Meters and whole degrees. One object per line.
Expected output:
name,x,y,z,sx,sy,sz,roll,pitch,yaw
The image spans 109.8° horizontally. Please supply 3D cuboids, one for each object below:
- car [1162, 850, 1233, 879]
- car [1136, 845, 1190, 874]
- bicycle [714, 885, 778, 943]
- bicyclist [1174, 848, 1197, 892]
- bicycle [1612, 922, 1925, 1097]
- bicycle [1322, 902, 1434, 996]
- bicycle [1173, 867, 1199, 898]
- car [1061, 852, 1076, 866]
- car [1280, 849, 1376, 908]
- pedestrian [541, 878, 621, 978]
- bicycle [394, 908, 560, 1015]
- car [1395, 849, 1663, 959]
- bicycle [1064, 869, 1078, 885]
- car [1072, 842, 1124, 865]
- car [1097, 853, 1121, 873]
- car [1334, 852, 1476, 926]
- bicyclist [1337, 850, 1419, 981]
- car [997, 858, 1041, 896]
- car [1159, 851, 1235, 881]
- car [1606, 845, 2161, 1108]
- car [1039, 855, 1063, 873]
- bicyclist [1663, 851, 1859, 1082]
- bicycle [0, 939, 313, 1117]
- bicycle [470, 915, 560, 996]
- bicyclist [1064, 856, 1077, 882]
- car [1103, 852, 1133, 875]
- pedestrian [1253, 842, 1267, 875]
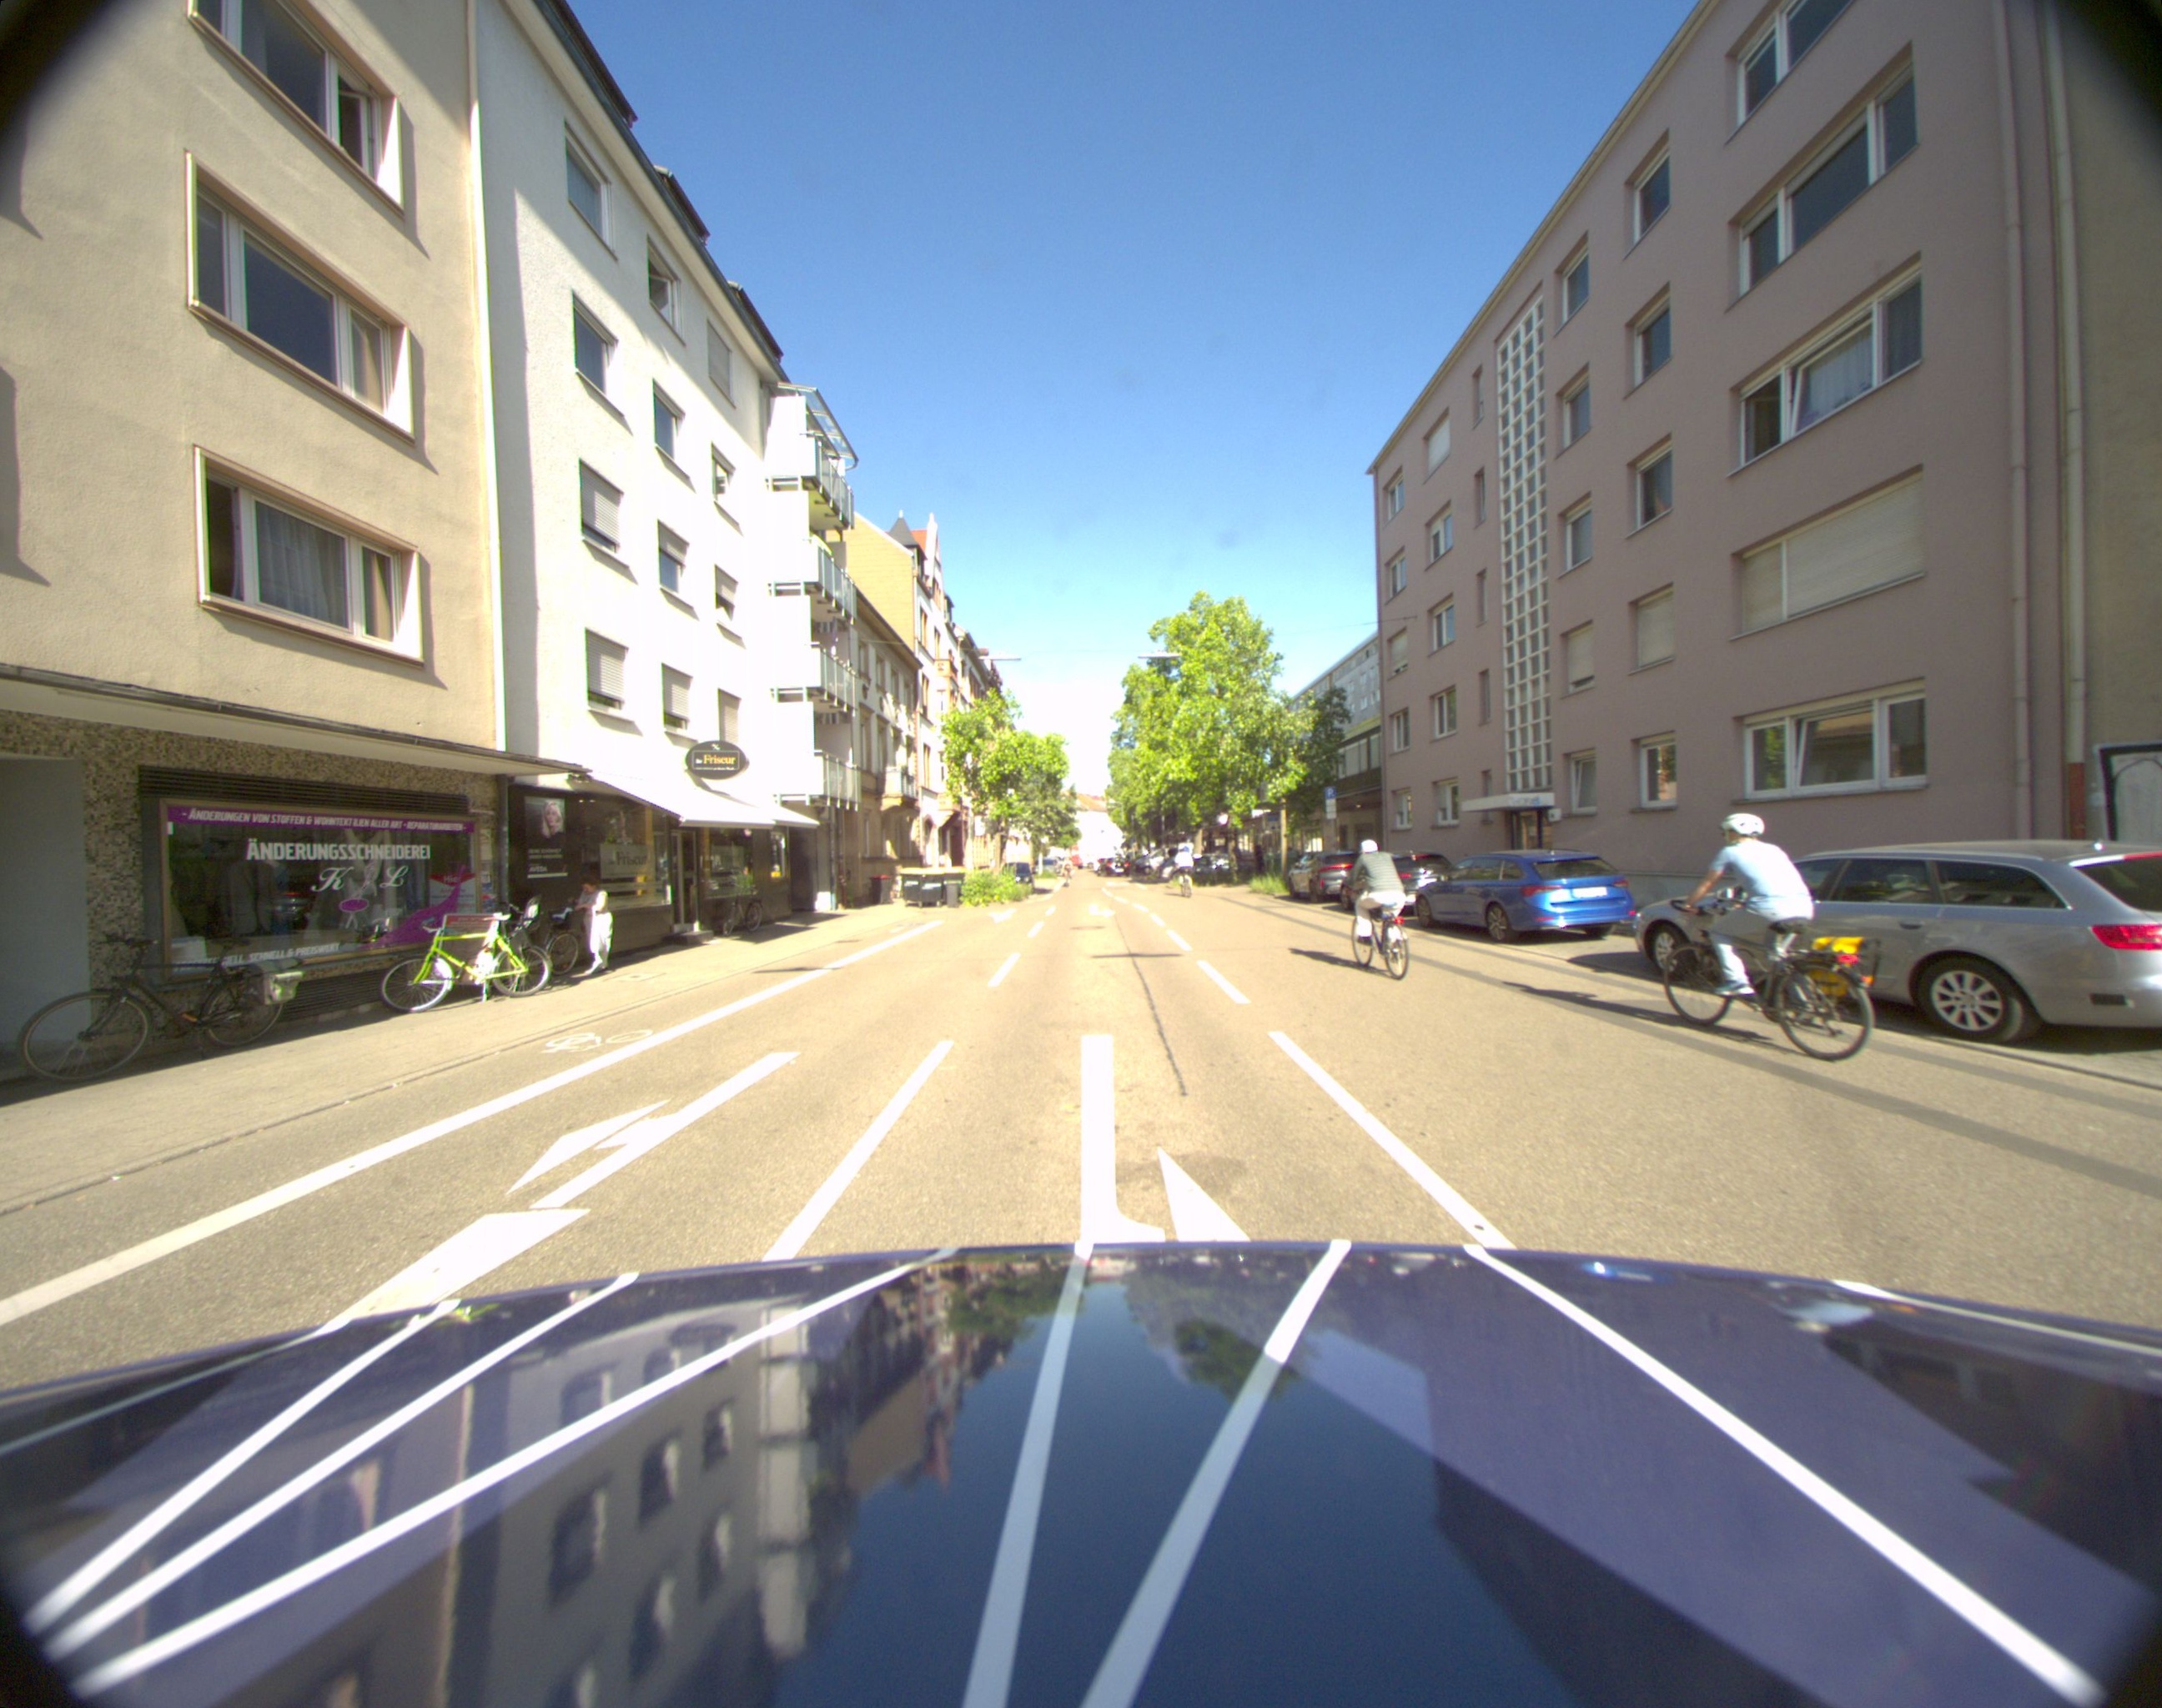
car,6.914,0.609,45.384,3.996,1.543,1.913,-2,0,3
car,6.040,0.385,56.402,3.875,2.031,1.913,-2,0,3
bicycle,-7.454,1.310,16.969,0.598,1.137,1.774,1,0,1
bicyclist,3.876,0.578,28.187,0.718,1.611,0.946,-1,1,1
bicycle,5.106,1.090,5.865,0.681,0.946,1.933,0,0,1
bicycle,3.663,1.136,9.557,0.681,0.946,1.933,0,0,1
bicycle,3.882,1.027,28.162,0.718,1.058,1.872,-1,1,1
car,-1.415,0.576,89.570,1.627,1.586,3.547,-2,0,1
car,7.604,0.694,23.809,1.727,1.567,4.158,-4,0,2
pedestrian,-7.480,1.093,11.394,0.776,1.433,0.625,1,0,-4
bicycle,-7.391,1.285,9.402,1.497,1.100,0.722,-2,0,-31
car,7.539,0.728,13.501,1.828,1.494,4.801,-4,0,0
bicycle,-0.548,1.266,41.704,0.582,0.801,1.710,-2,0,6
car,1.873,-0.074,82.387,5.571,2.379,1.973,-2,0,-37
car,2.320,0.722,64.233,1.911,1.543,4.000,-2,0,0
car,7.629,0.745,18.371,1.727,1.459,4.158,-4,0,2
bicyclist,3.686,0.733,9.498,0.681,1.567,0.899,0,1,1
car,-2.803,1.022,34.869,1.627,1.586,3.547,-2,0,1
car,6.387,0.654,42.181,3.996,1.543,1.913,-2,0,3
car,7.420,0.738,6.947,1.828,1.494,4.801,-4,0,0
car,-2.622,0.854,67.410,1.914,1.444,3.547,-2,0,1
bicyclist,5.109,0.789,5.776,0.681,1.621,0.899,0,1,1
bicycle,-7.671,1.365,6.417,0.407,1.078,1.801,1,0,6
bicycle,-7.899,1.391,10.658,0.376,0.977,1.175,-1,0,-2
bicyclist,-0.566,0.809,41.605,0.582,1.369,0.665,-2,1,6
car,2.618,0.667,54.678,1.911,1.543,4.000,-2,0,0
pedestrian,9.924,0.261,42.242,0.623,1.795,0.502,-2,1,2
